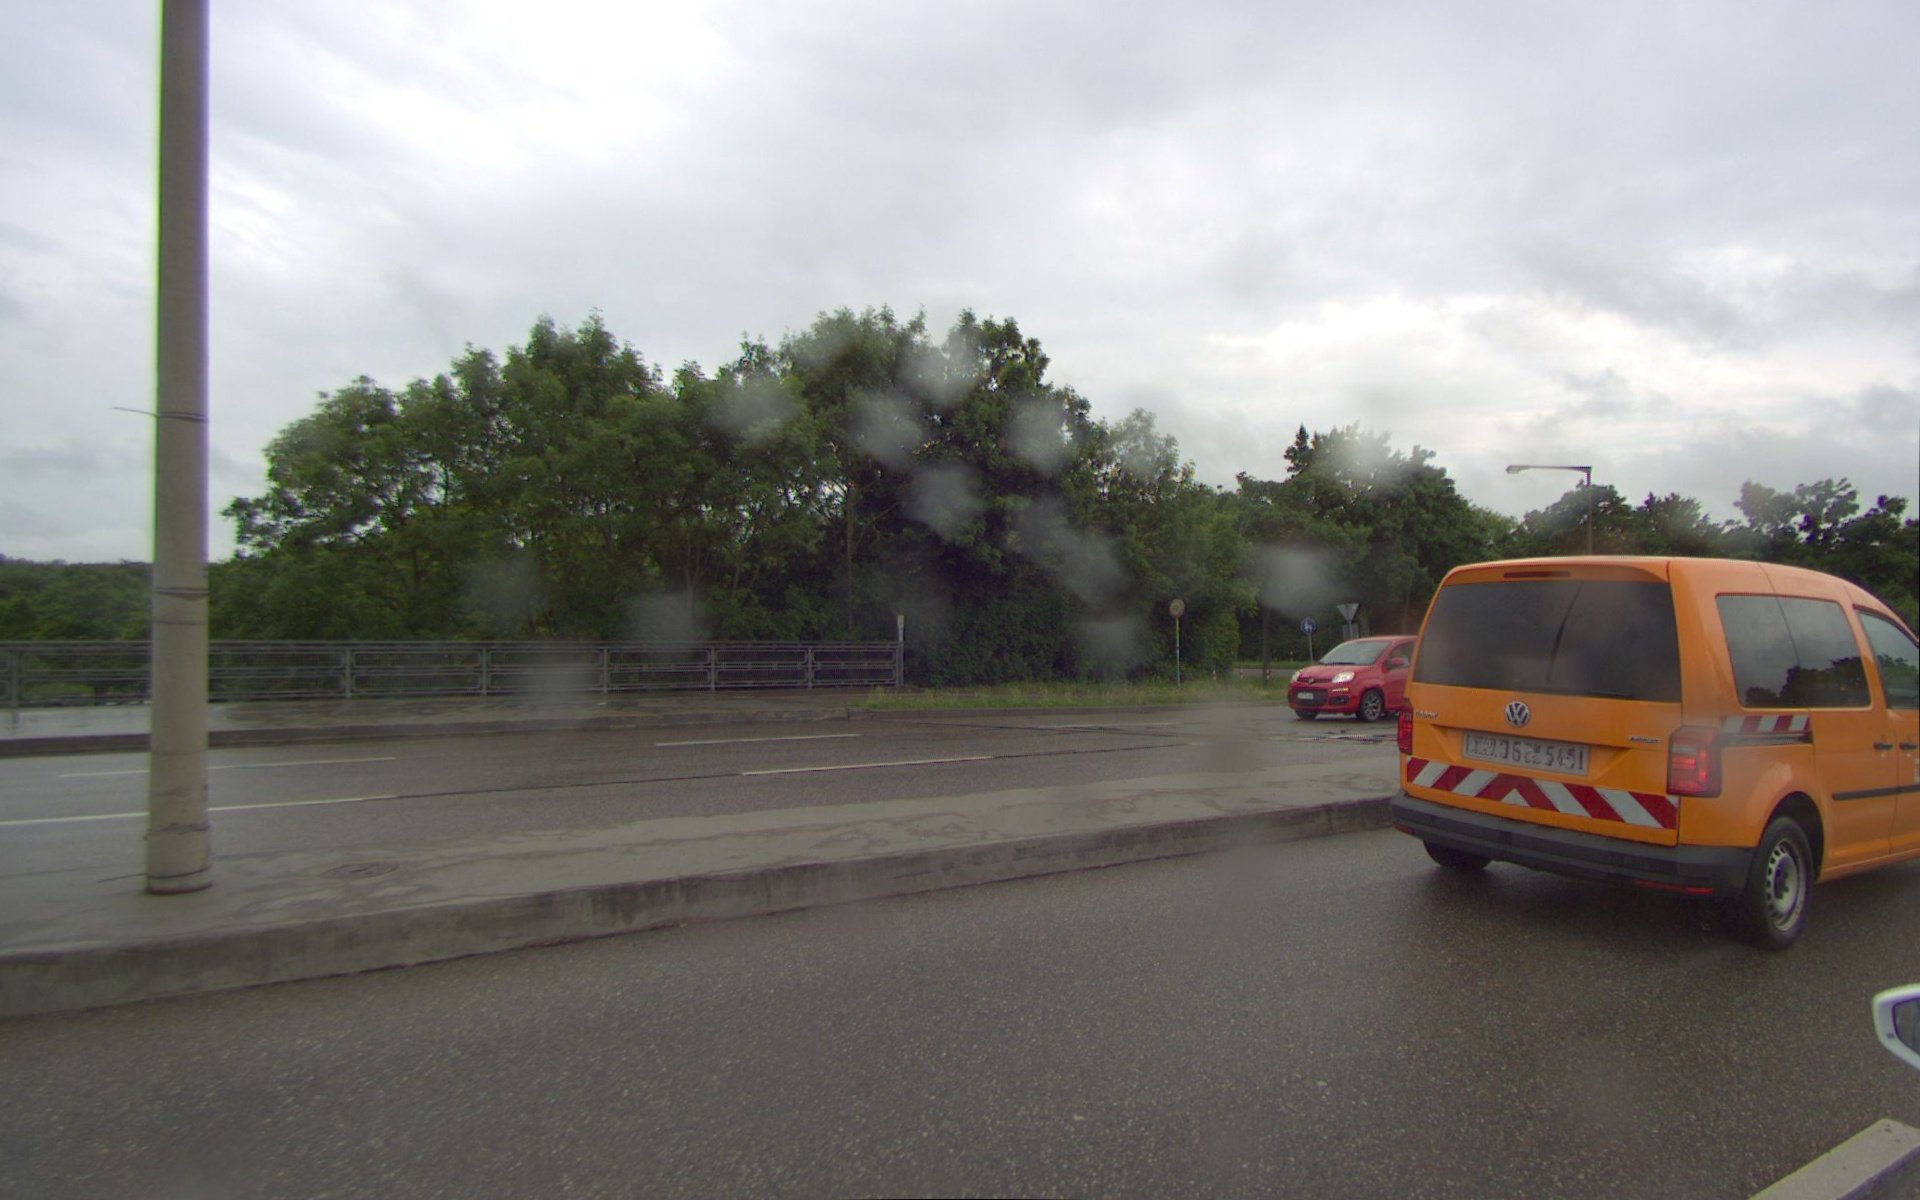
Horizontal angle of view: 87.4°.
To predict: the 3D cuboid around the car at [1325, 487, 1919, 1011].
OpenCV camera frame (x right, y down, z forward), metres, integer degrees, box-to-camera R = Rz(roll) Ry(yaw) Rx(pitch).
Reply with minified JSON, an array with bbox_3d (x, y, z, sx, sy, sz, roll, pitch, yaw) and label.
[{"bbox_3d":[4.473,0.677,5.913,4.793,2.045,1.726,2,-2,-31],"label":"car"}]
